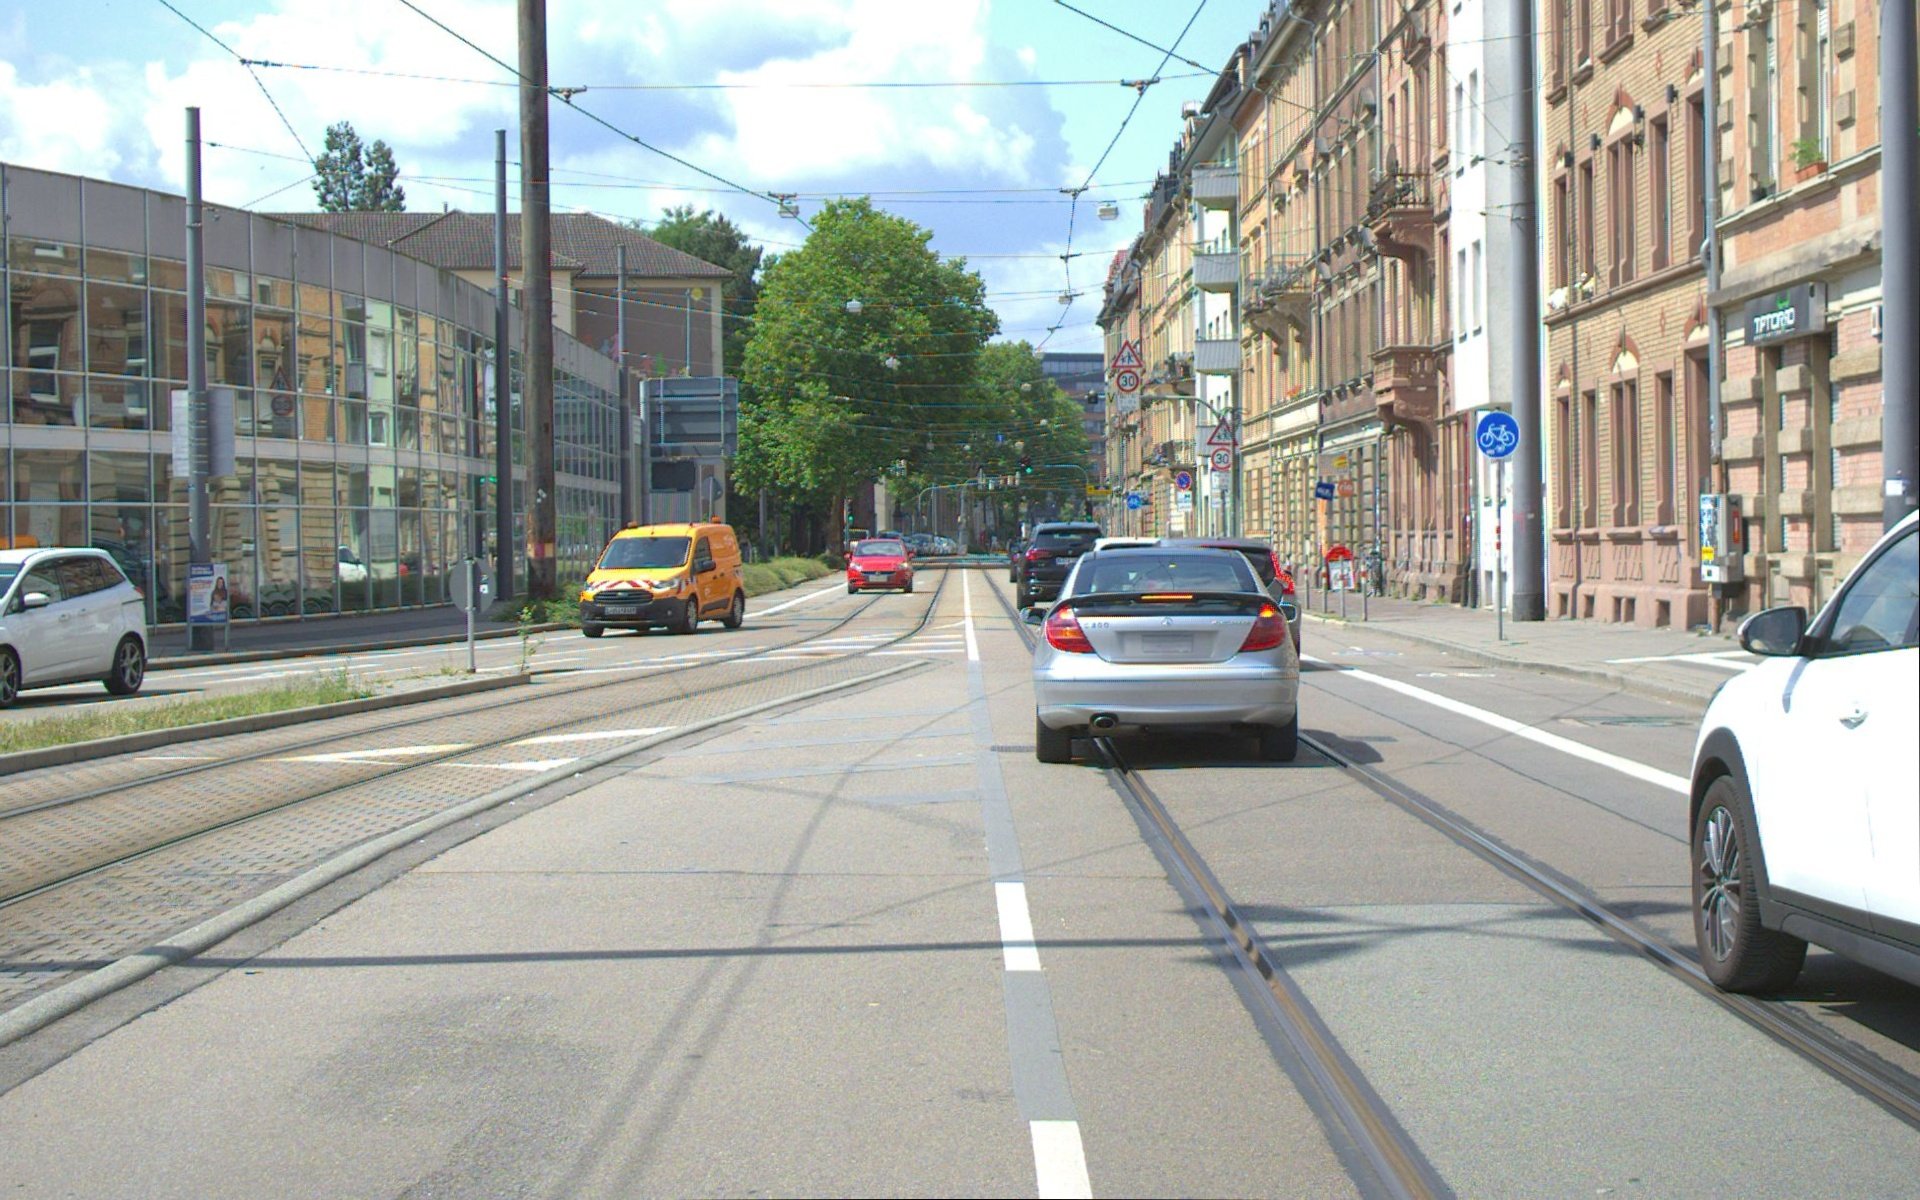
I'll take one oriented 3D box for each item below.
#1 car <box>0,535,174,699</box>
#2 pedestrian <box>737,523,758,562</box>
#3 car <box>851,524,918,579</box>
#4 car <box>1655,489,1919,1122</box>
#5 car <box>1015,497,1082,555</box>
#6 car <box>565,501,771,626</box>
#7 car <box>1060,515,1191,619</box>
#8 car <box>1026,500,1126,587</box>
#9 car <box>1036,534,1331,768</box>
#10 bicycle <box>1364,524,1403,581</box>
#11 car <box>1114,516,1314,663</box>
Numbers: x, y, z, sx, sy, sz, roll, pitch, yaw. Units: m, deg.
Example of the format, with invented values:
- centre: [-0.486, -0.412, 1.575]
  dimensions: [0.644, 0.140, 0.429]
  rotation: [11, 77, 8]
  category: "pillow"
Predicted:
- centre: [-10.290, 0.185, 36.687]
  dimensions: [1.768, 1.598, 4.490]
  rotation: [-2, 2, 15]
  category: "car"
- centre: [-10.300, -2.774, 166.377]
  dimensions: [0.880, 1.859, 1.081]
  rotation: [-2, 1, 1]
  category: "pedestrian"
- centre: [-2.010, -1.309, 92.108]
  dimensions: [1.702, 1.423, 3.902]
  rotation: [-1, 1, 0]
  category: "car"
- centre: [3.377, 0.527, 9.609]
  dimensions: [1.852, 1.628, 4.181]
  rotation: [1, 1, -2]
  category: "car"
- centre: [2.932, -2.480, 114.347]
  dimensions: [1.993, 1.853, 4.001]
  rotation: [-1, 2, -1]
  category: "car"
- centre: [-4.721, -0.626, 56.257]
  dimensions: [1.912, 1.859, 4.365]
  rotation: [-2, 2, 15]
  category: "car"
- centre: [2.511, -0.535, 52.971]
  dimensions: [1.814, 1.519, 3.956]
  rotation: [-1, 1, 0]
  category: "car"
- centre: [2.287, -1.142, 68.633]
  dimensions: [1.814, 1.656, 4.085]
  rotation: [-1, 1, 0]
  category: "car"
- centre: [1.451, 0.280, 23.553]
  dimensions: [1.814, 1.415, 4.188]
  rotation: [-1, 1, 2]
  category: "car"
- centre: [9.061, -1.018, 73.554]
  dimensions: [0.586, 1.174, 2.205]
  rotation: [-1, 2, 1]
  category: "bicycle"
- centre: [2.798, -0.159, 38.626]
  dimensions: [1.814, 1.519, 4.086]
  rotation: [-1, 2, -2]
  category: "car"
